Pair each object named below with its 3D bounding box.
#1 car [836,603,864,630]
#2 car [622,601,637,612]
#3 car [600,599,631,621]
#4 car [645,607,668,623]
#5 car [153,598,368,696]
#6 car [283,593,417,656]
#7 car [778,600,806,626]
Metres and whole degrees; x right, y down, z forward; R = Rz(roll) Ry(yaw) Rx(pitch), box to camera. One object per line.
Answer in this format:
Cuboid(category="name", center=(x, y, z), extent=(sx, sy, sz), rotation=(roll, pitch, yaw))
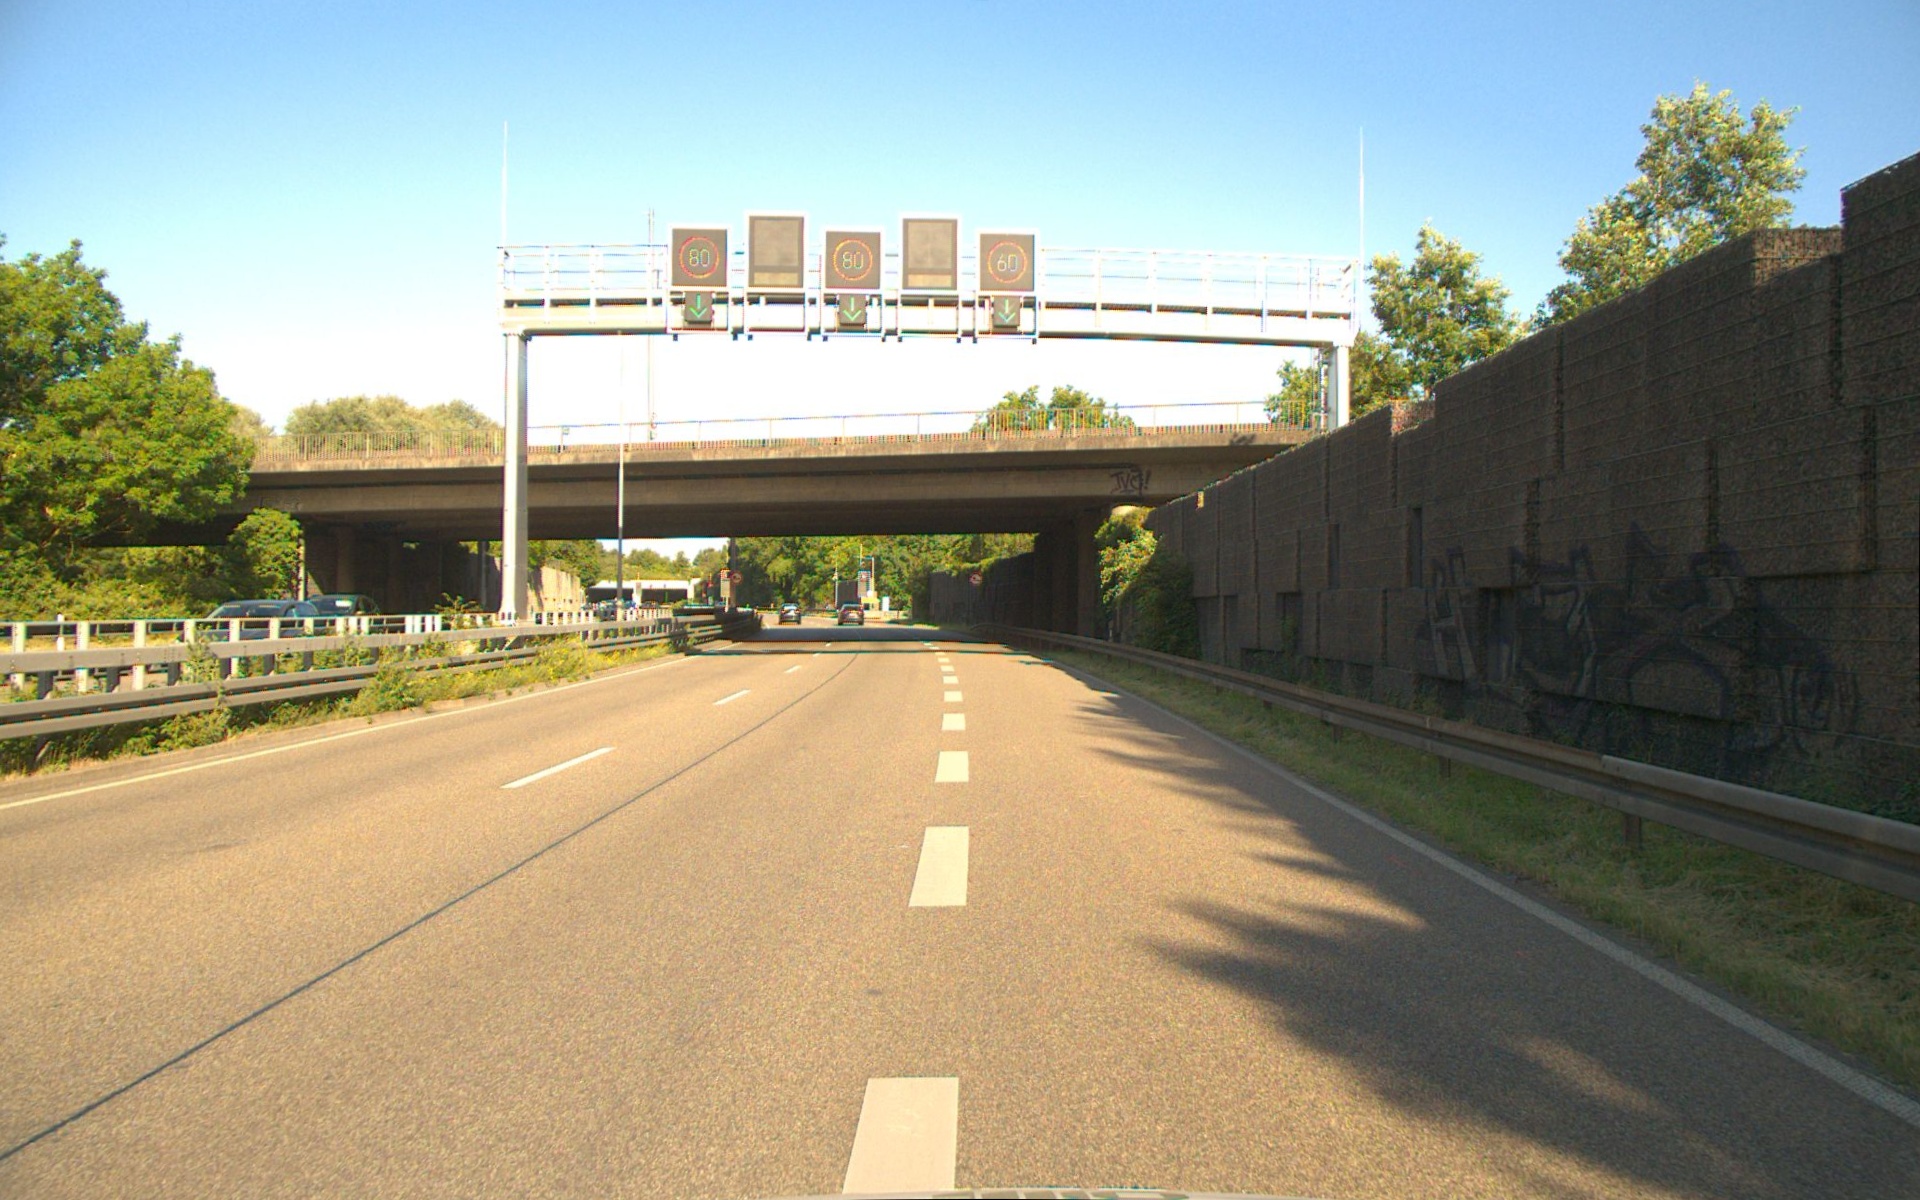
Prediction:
Cuboid(category="car", center=(-7.995, 1.180, 120.324), extent=(1.954, 1.959, 3.997), rotation=(1, 0, -4))
Cuboid(category="car", center=(-49.436, 0.975, 247.577), extent=(1.862, 1.601, 4.799), rotation=(2, 0, -8))
Cuboid(category="car", center=(-28.237, 0.768, 135.631), extent=(1.954, 1.736, 4.557), rotation=(-1, 0, -4))
Cuboid(category="car", center=(-32.091, 1.556, 175.101), extent=(1.954, 1.624, 4.423), rotation=(0, 0, -4))
Cuboid(category="car", center=(-13.063, 0.824, 31.247), extent=(1.952, 1.669, 4.721), rotation=(1, 0, 1))
Cuboid(category="car", center=(-17.331, 0.664, 47.230), extent=(1.952, 1.669, 4.721), rotation=(1, 0, 1))
Cuboid(category="car", center=(-13.131, 0.988, 129.301), extent=(1.954, 1.959, 3.997), rotation=(1, 0, -4))
